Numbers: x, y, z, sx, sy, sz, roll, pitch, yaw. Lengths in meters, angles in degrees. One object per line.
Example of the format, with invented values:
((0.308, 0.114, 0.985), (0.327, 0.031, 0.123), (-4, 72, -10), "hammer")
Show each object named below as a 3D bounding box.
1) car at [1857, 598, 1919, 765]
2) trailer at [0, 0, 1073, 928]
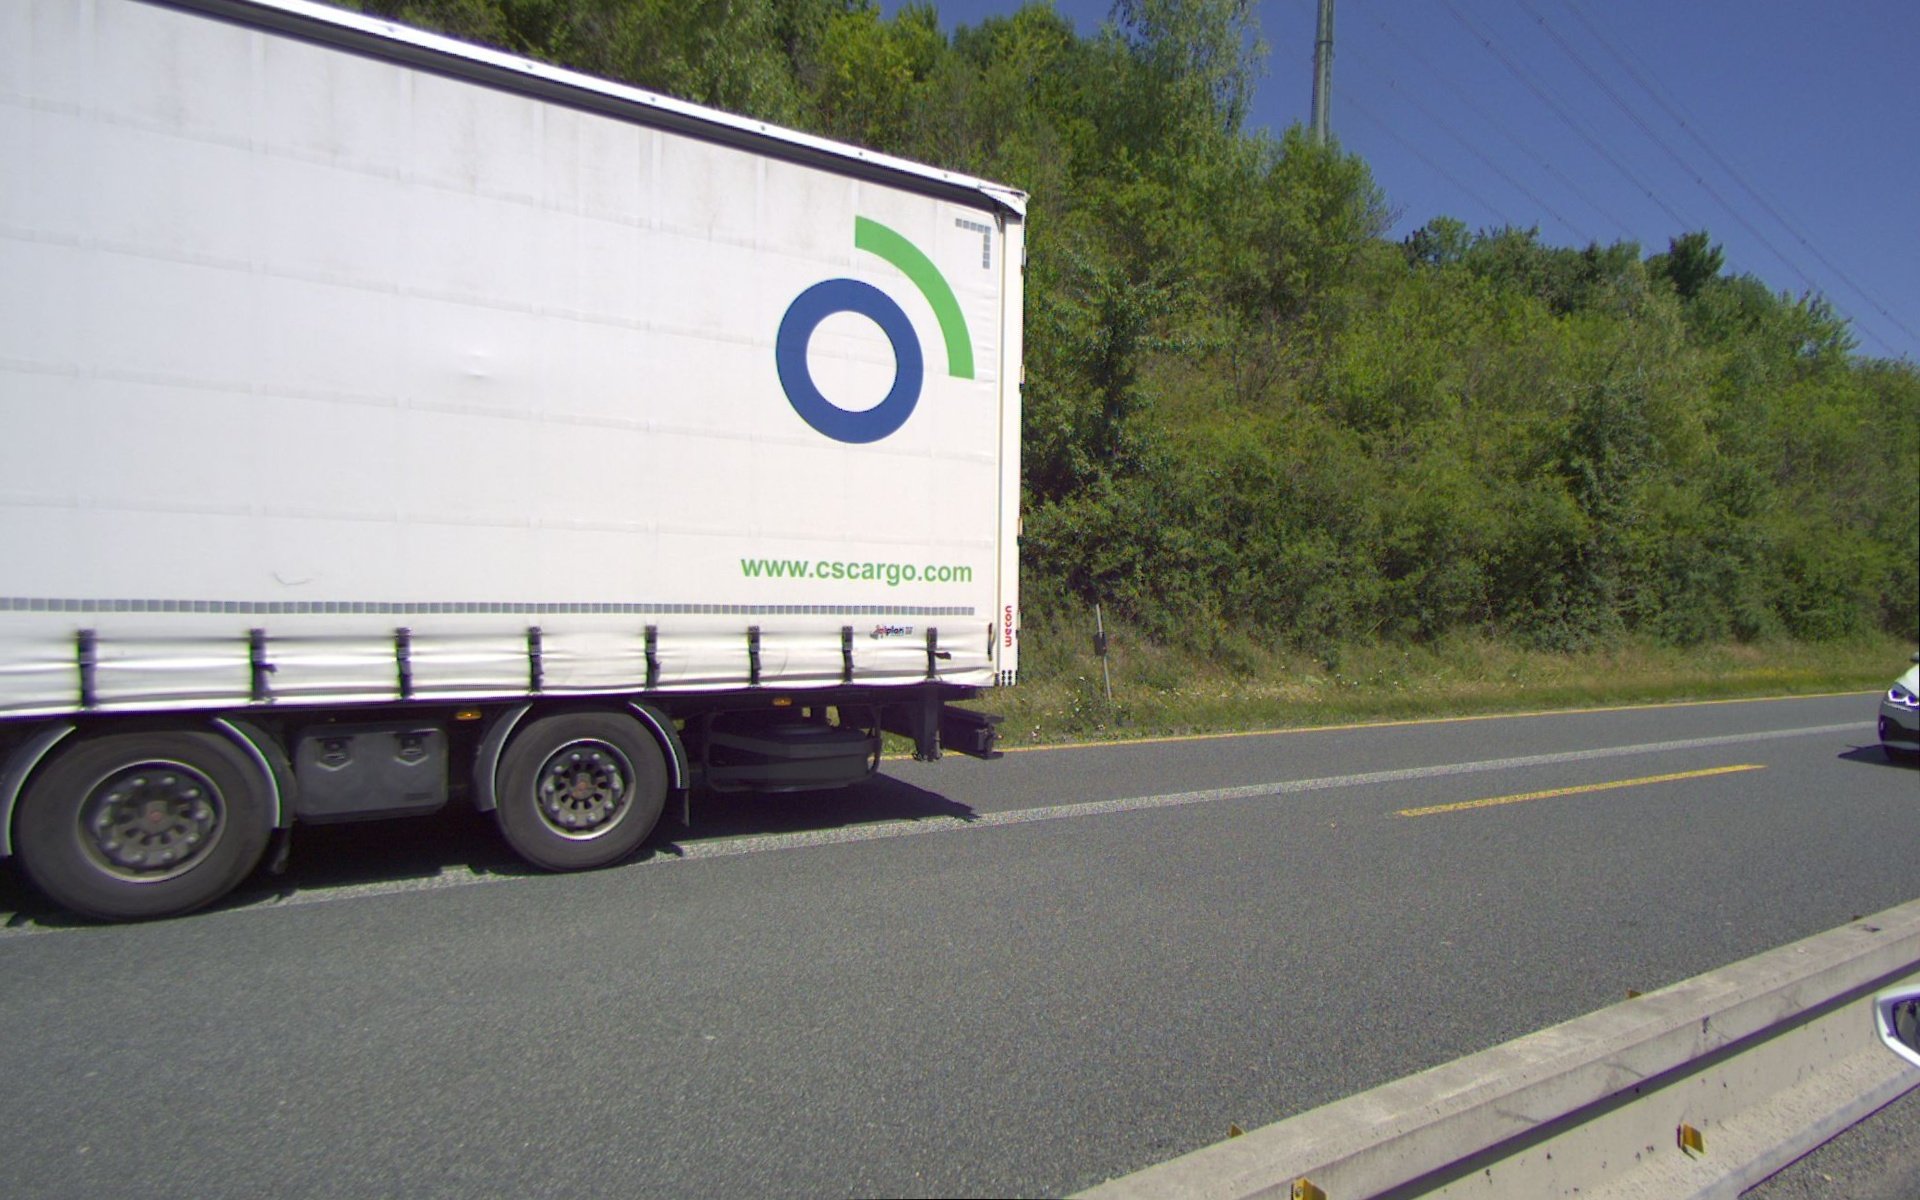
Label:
((11.574, 0.880, 10.767), (4.248, 1.654, 1.753), (2, 0, -31), "car")
((-3.569, -0.889, 5.624), (8.348, 4.370, 2.625), (1, 1, -30), "trailer")
